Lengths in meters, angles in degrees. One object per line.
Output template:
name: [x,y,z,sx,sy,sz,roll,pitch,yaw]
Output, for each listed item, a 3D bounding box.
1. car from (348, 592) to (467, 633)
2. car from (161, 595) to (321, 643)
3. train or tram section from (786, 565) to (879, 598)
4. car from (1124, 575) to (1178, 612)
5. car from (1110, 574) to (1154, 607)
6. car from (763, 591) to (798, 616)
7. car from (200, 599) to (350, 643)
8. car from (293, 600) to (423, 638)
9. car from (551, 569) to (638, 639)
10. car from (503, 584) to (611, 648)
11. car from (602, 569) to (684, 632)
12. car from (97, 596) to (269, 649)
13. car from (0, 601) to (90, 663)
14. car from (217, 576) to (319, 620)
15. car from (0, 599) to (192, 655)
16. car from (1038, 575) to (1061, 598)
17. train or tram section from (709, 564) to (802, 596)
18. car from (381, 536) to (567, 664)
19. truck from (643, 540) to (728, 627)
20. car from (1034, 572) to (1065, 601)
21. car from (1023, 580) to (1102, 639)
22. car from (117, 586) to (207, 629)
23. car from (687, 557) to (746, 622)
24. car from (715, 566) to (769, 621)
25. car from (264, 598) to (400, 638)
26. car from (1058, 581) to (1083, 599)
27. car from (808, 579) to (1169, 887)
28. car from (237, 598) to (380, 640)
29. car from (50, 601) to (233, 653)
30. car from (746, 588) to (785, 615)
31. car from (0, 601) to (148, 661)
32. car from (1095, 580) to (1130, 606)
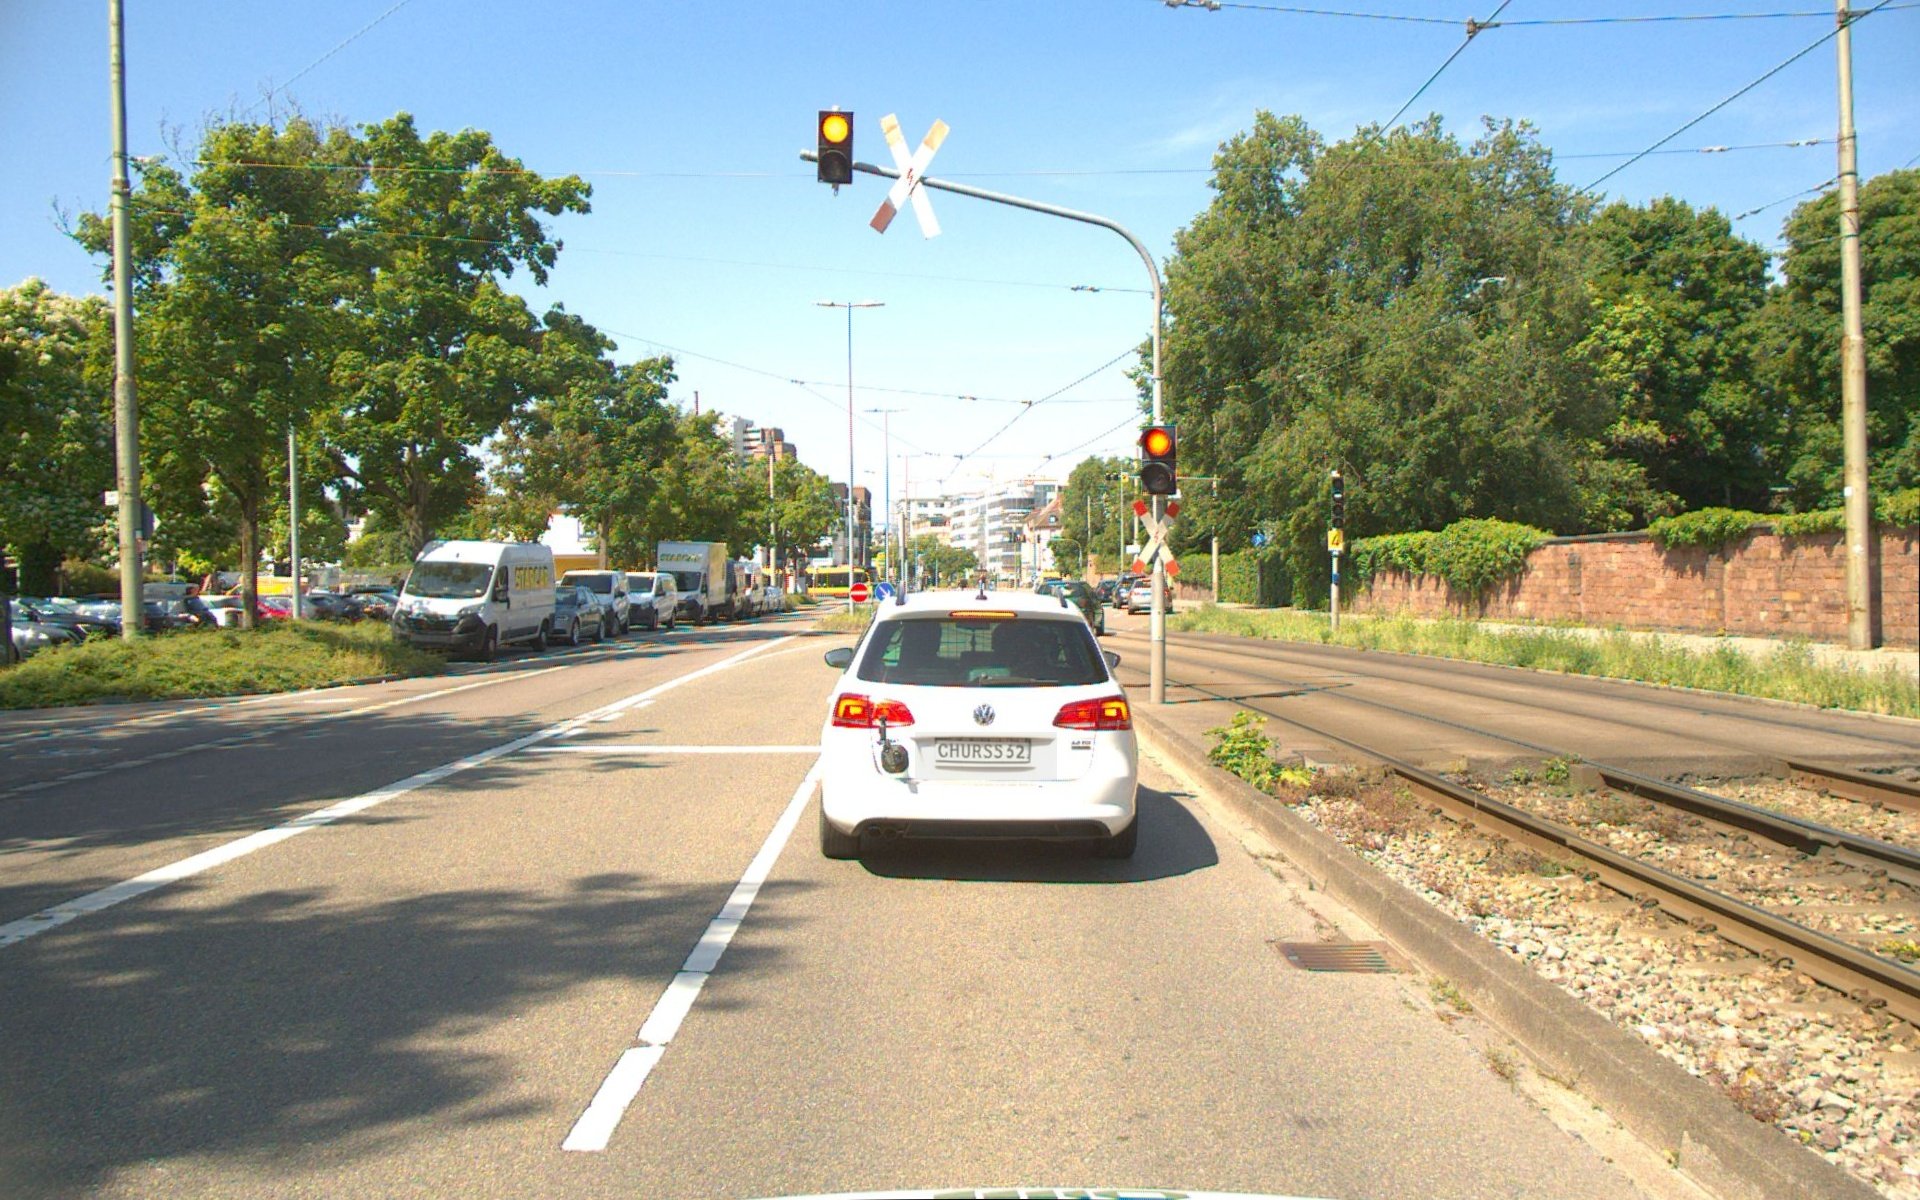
car: [-21.148,0.483,63.369,3.904,1.469,1.772,-1,1,2]
car: [-21.137,0.545,48.727,3.904,1.286,1.772,-1,1,2]
train or tram section: [-13.922,-2.047,179.969,11.043,3.309,2.301,1,0,35]
car: [7.898,-0.276,68.111,1.821,1.441,4.329,1,1,11]
car: [8.551,-0.494,82.535,1.822,1.539,3.914,1,1,1]
car: [-10.943,0.196,101.012,1.744,1.458,4.037,-1,1,-1]
car: [-21.210,0.650,51.297,3.904,1.246,1.772,-1,1,2]
car: [-21.171,0.658,58.231,3.904,1.246,1.772,-1,1,2]
car: [-10.942,0.078,49.899,1.807,1.971,5.189,-1,1,-4]
car: [-10.456,0.384,43.185,1.806,1.543,4.196,-1,1,-1]
car: [-10.744,-0.016,56.387,1.806,1.994,5.134,-1,1,0]
car: [-21.582,0.614,46.031,3.904,1.373,1.772,-1,1,2]
car: [-20.869,0.688,35.034,3.907,1.246,1.771,-1,1,-2]
car: [-33.949,-0.081,81.204,4.175,2.049,1.997,1,0,-7]
car: [-21.094,0.650,40.297,3.904,1.246,1.772,-1,1,2]
car: [7.648,-1.147,141.330,1.656,1.844,3.453,1,0,-1]
train or tram section: [-22.889,-2.260,184.876,10.553,3.309,2.308,1,0,22]
car: [-10.670,-0.040,36.904,2.016,2.544,6.309,2,1,2]
truck: [-10.674,-0.652,64.903,2.308,3.177,6.890,-1,1,-1]
car: [8.193,-1.211,152.549,2.413,2.542,5.909,1,0,-1]
car: [2.657,0.211,42.232,1.708,1.412,3.916,1,1,8]
car: [-36.692,0.332,76.071,3.354,1.909,1.552,-1,0,-3]
car: [-10.651,-0.468,72.534,1.806,2.715,5.003,-1,1,0]
car: [-10.508,-0.353,80.180,1.806,2.538,5.856,-1,1,0]
car: [-21.268,0.593,56.110,3.904,1.246,1.772,-1,1,2]
car: [8.386,-0.747,125.749,1.549,1.370,3.453,1,0,-1]
car: [0.096,0.630,10.029,1.732,1.471,3.912,1,1,-2]
car: [-21.178,0.612,53.872,3.904,1.246,1.772,-1,1,2]
car: [-21.516,0.690,43.557,3.904,1.246,1.772,-1,1,2]
car: [-11.215,0.059,95.625,1.806,1.458,4.037,-1,1,-1]
car: [-20.847,0.700,37.550,3.907,1.246,1.771,-1,1,-2]
car: [8.677,-0.428,94.516,1.710,1.432,3.914,1,1,1]
